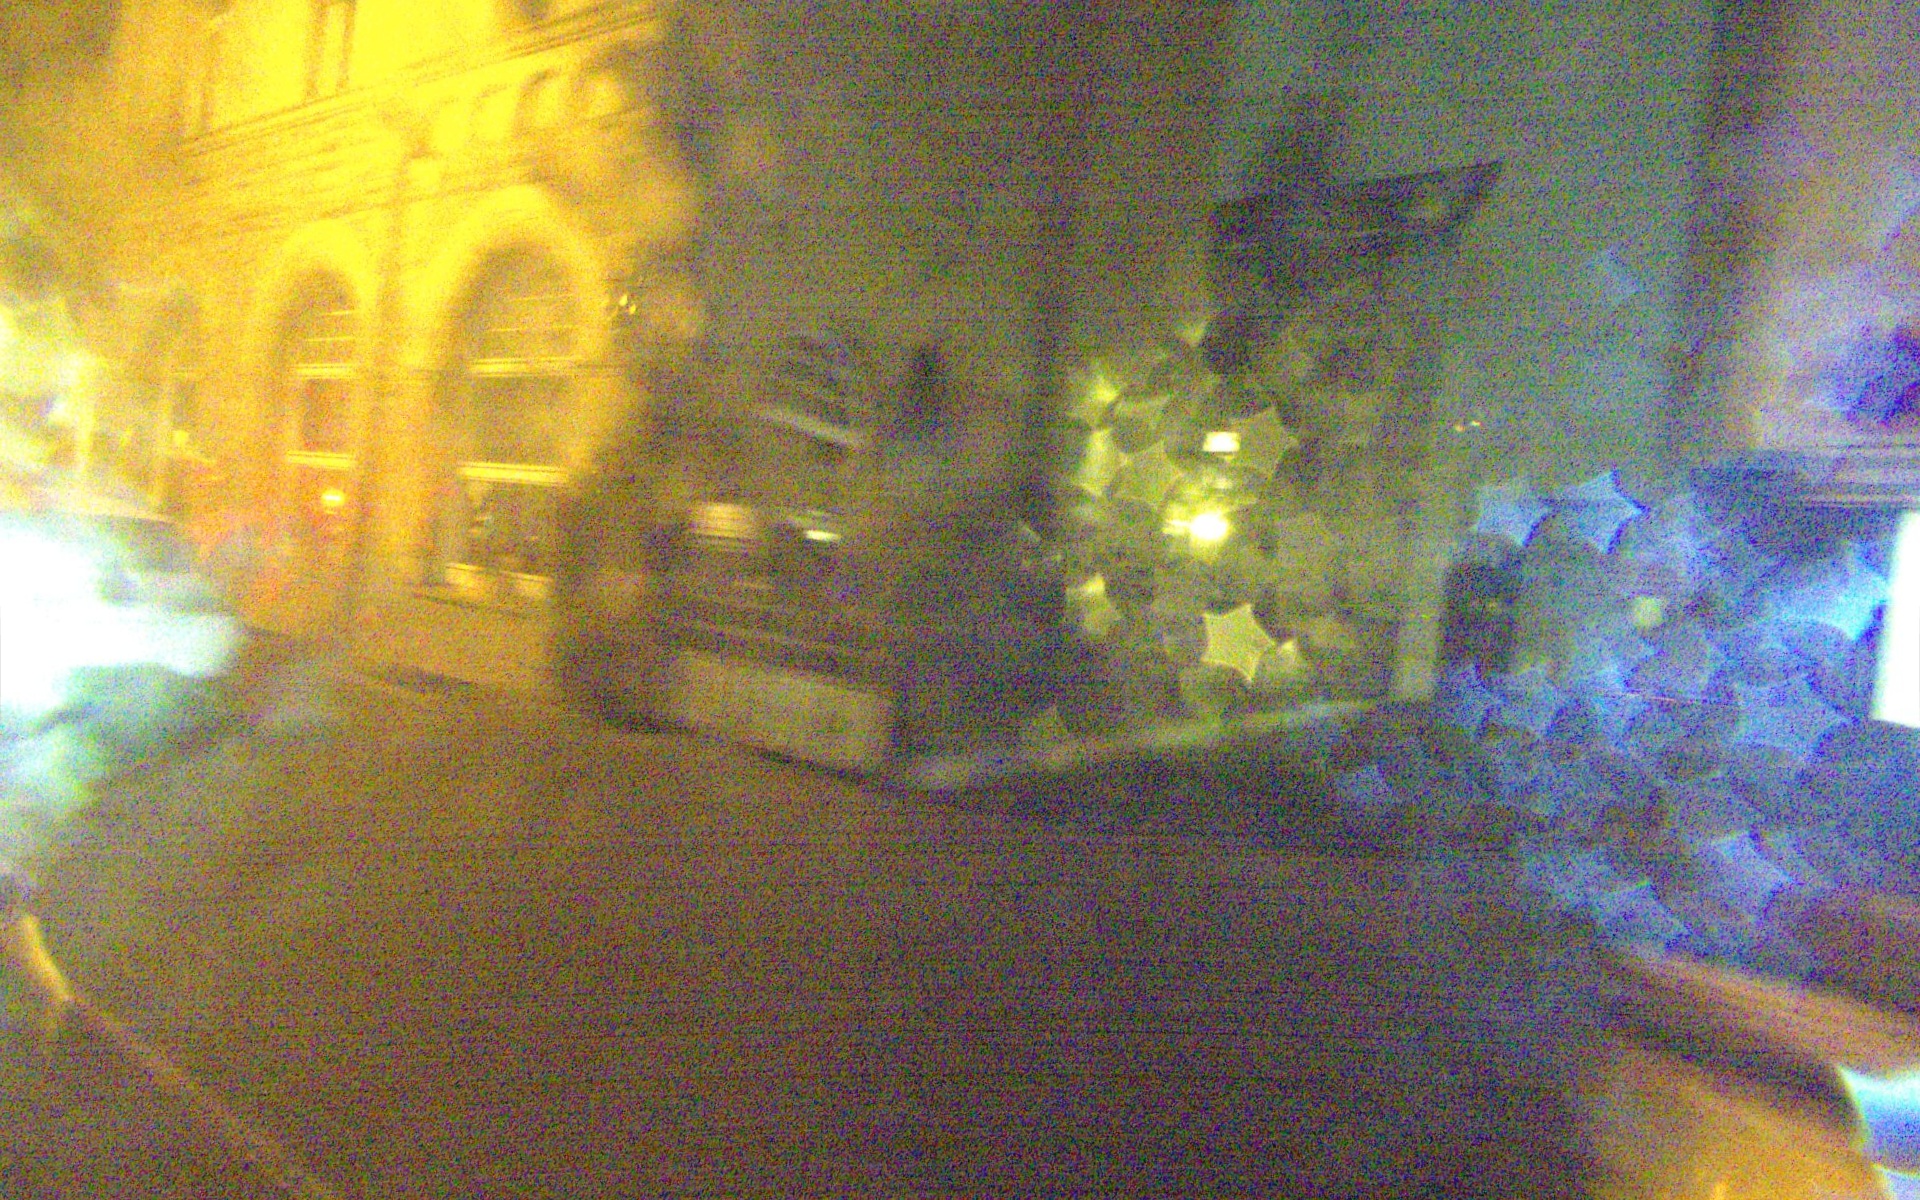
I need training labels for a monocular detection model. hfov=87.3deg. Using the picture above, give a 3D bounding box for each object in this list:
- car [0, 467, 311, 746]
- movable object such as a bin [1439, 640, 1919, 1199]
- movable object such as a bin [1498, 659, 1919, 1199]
[{"bbox_3d":[-6.679,-0.156,6.879,4.343,1.482,1.996,7,0,32],"label":"car"},{"bbox_3d":[2.329,0.943,3.158,1.035,1.447,1.307,8,1,41],"label":"movable object such as a bin"},{"bbox_3d":[1.883,0.927,1.599,1.180,1.447,1.340,7,0,-5],"label":"movable object such as a bin"}]
